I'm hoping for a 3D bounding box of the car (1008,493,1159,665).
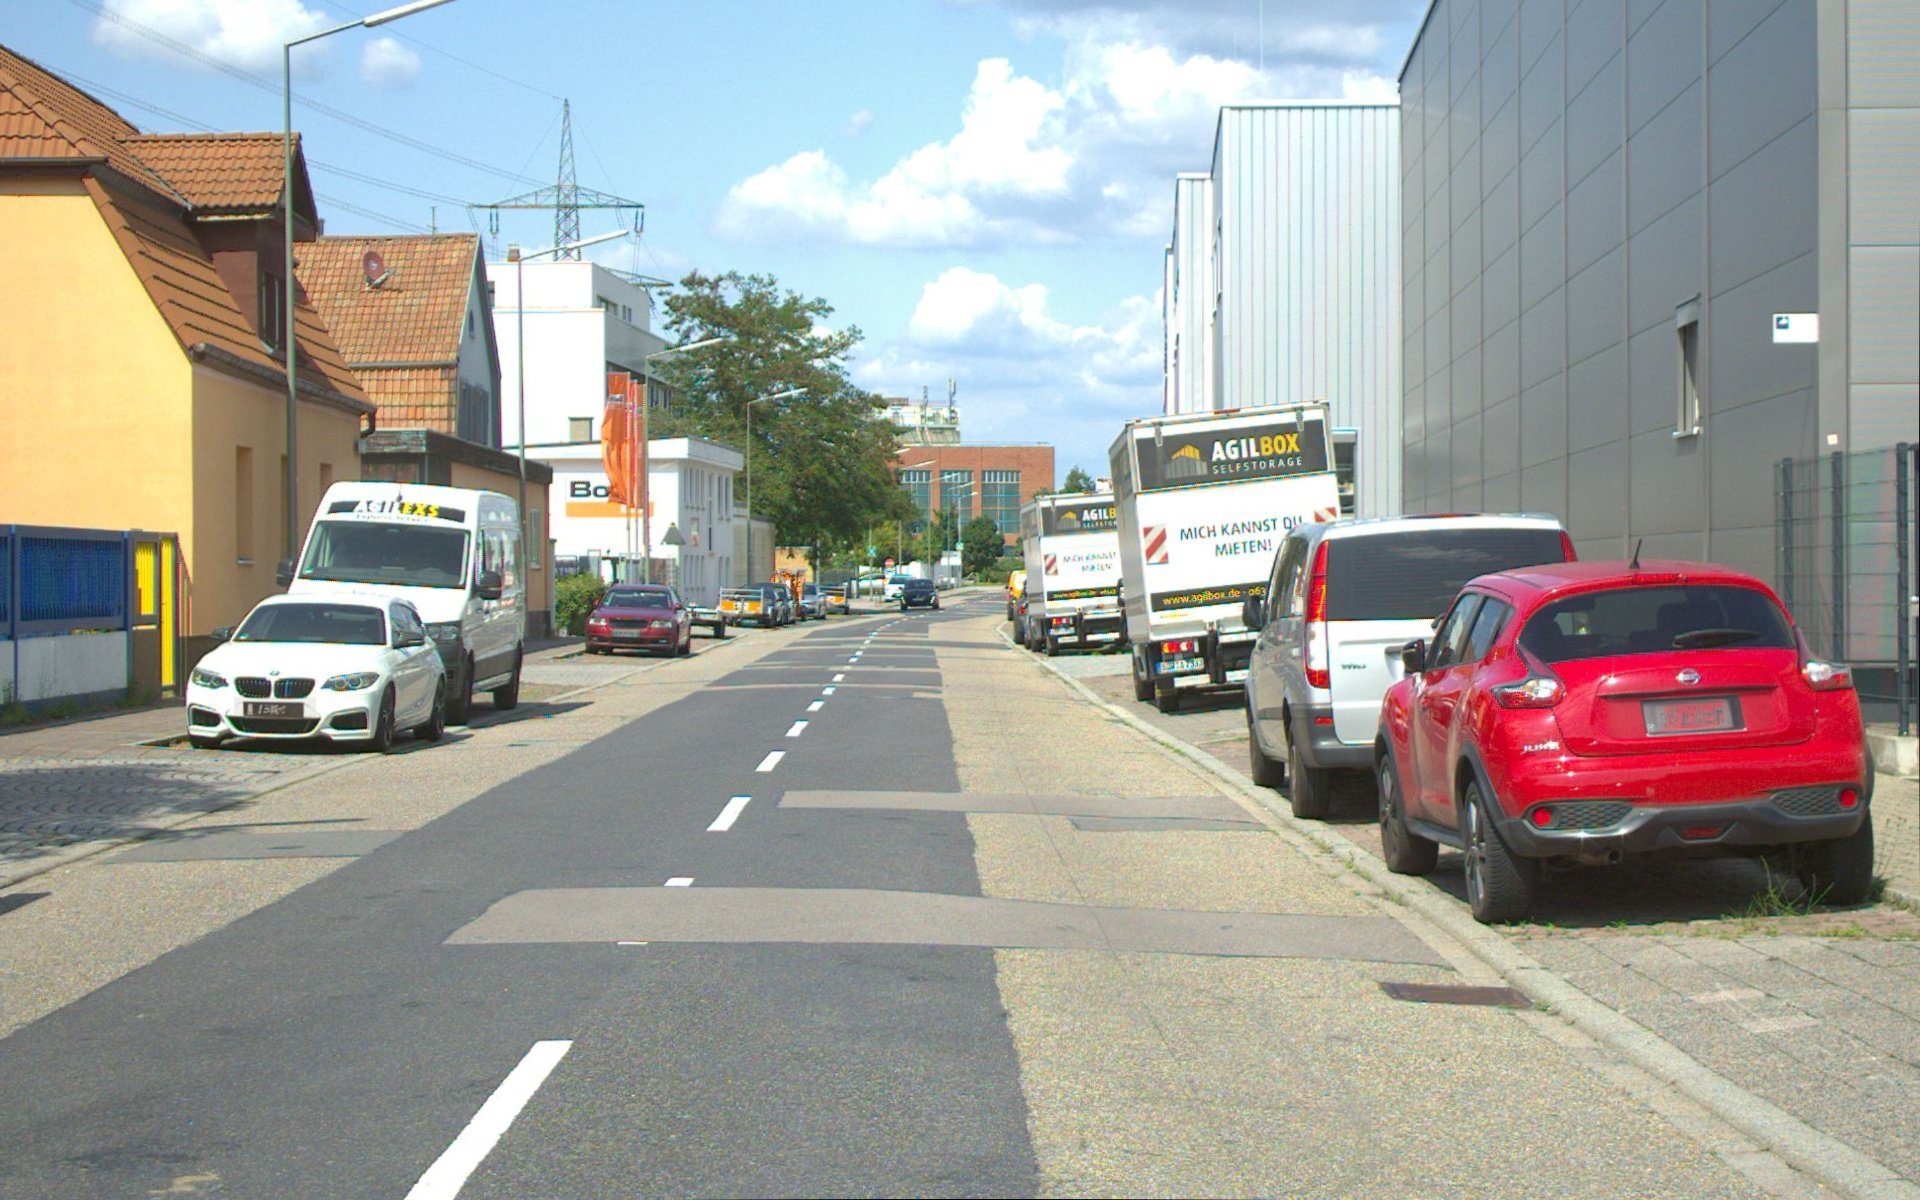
[{"bbox_3d":[2.513,-0.415,72.140,2.388,3.351,6.646,-3,0,-3],"label":"car"}]

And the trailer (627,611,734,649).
[{"bbox_3d":[-7.237,0.764,89.570,2.362,0.890,5.569,2,0,-1],"label":"trailer"}]

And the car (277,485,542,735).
[{"bbox_3d":[-6.125,0.114,39.085,2.026,2.553,6.840,1,0,-1],"label":"car"}]

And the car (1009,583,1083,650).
[{"bbox_3d":[2.099,0.409,84.550,1.768,1.607,3.873,0,0,1],"label":"car"}]

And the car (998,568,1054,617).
[{"bbox_3d":[2.439,-0.267,126.260,1.940,1.736,4.376,-1,0,2],"label":"car"}]

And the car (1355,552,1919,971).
[{"bbox_3d":[3.066,0.645,16.404,1.704,1.619,4.093,-3,1,-1],"label":"car"}]

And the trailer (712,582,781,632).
[{"bbox_3d":[-6.836,0.217,110.635,1.993,1.551,4.253,0,0,-1],"label":"trailer"}]

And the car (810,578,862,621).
[{"bbox_3d":[-5.377,-0.027,149.636,1.922,1.788,4.000,1,0,2],"label":"car"}]

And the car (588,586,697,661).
[{"bbox_3d":[-6.500,0.471,70.814,1.762,1.442,4.741,2,0,0],"label":"car"}]

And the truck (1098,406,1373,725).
[{"bbox_3d":[3.143,-0.380,40.929,2.458,3.282,6.817,-5,0,0],"label":"truck"}]

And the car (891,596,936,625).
[{"bbox_3d":[-2.164,0.492,161.435,1.918,1.280,3.614,-1,0,2],"label":"car"}]

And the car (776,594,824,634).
[{"bbox_3d":[-6.111,0.539,131.678,1.668,1.442,3.453,2,0,0],"label":"car"}]

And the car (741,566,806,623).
[{"bbox_3d":[-6.811,-0.206,126.170,1.993,2.007,4.000,1,0,2],"label":"car"}]

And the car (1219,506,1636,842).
[{"bbox_3d":[3.011,0.430,23.295,2.054,1.897,5.147,-4,0,1],"label":"car"}]

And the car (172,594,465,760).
[{"bbox_3d":[-5.865,0.673,31.944,1.796,1.392,4.501,1,0,1],"label":"car"}]
